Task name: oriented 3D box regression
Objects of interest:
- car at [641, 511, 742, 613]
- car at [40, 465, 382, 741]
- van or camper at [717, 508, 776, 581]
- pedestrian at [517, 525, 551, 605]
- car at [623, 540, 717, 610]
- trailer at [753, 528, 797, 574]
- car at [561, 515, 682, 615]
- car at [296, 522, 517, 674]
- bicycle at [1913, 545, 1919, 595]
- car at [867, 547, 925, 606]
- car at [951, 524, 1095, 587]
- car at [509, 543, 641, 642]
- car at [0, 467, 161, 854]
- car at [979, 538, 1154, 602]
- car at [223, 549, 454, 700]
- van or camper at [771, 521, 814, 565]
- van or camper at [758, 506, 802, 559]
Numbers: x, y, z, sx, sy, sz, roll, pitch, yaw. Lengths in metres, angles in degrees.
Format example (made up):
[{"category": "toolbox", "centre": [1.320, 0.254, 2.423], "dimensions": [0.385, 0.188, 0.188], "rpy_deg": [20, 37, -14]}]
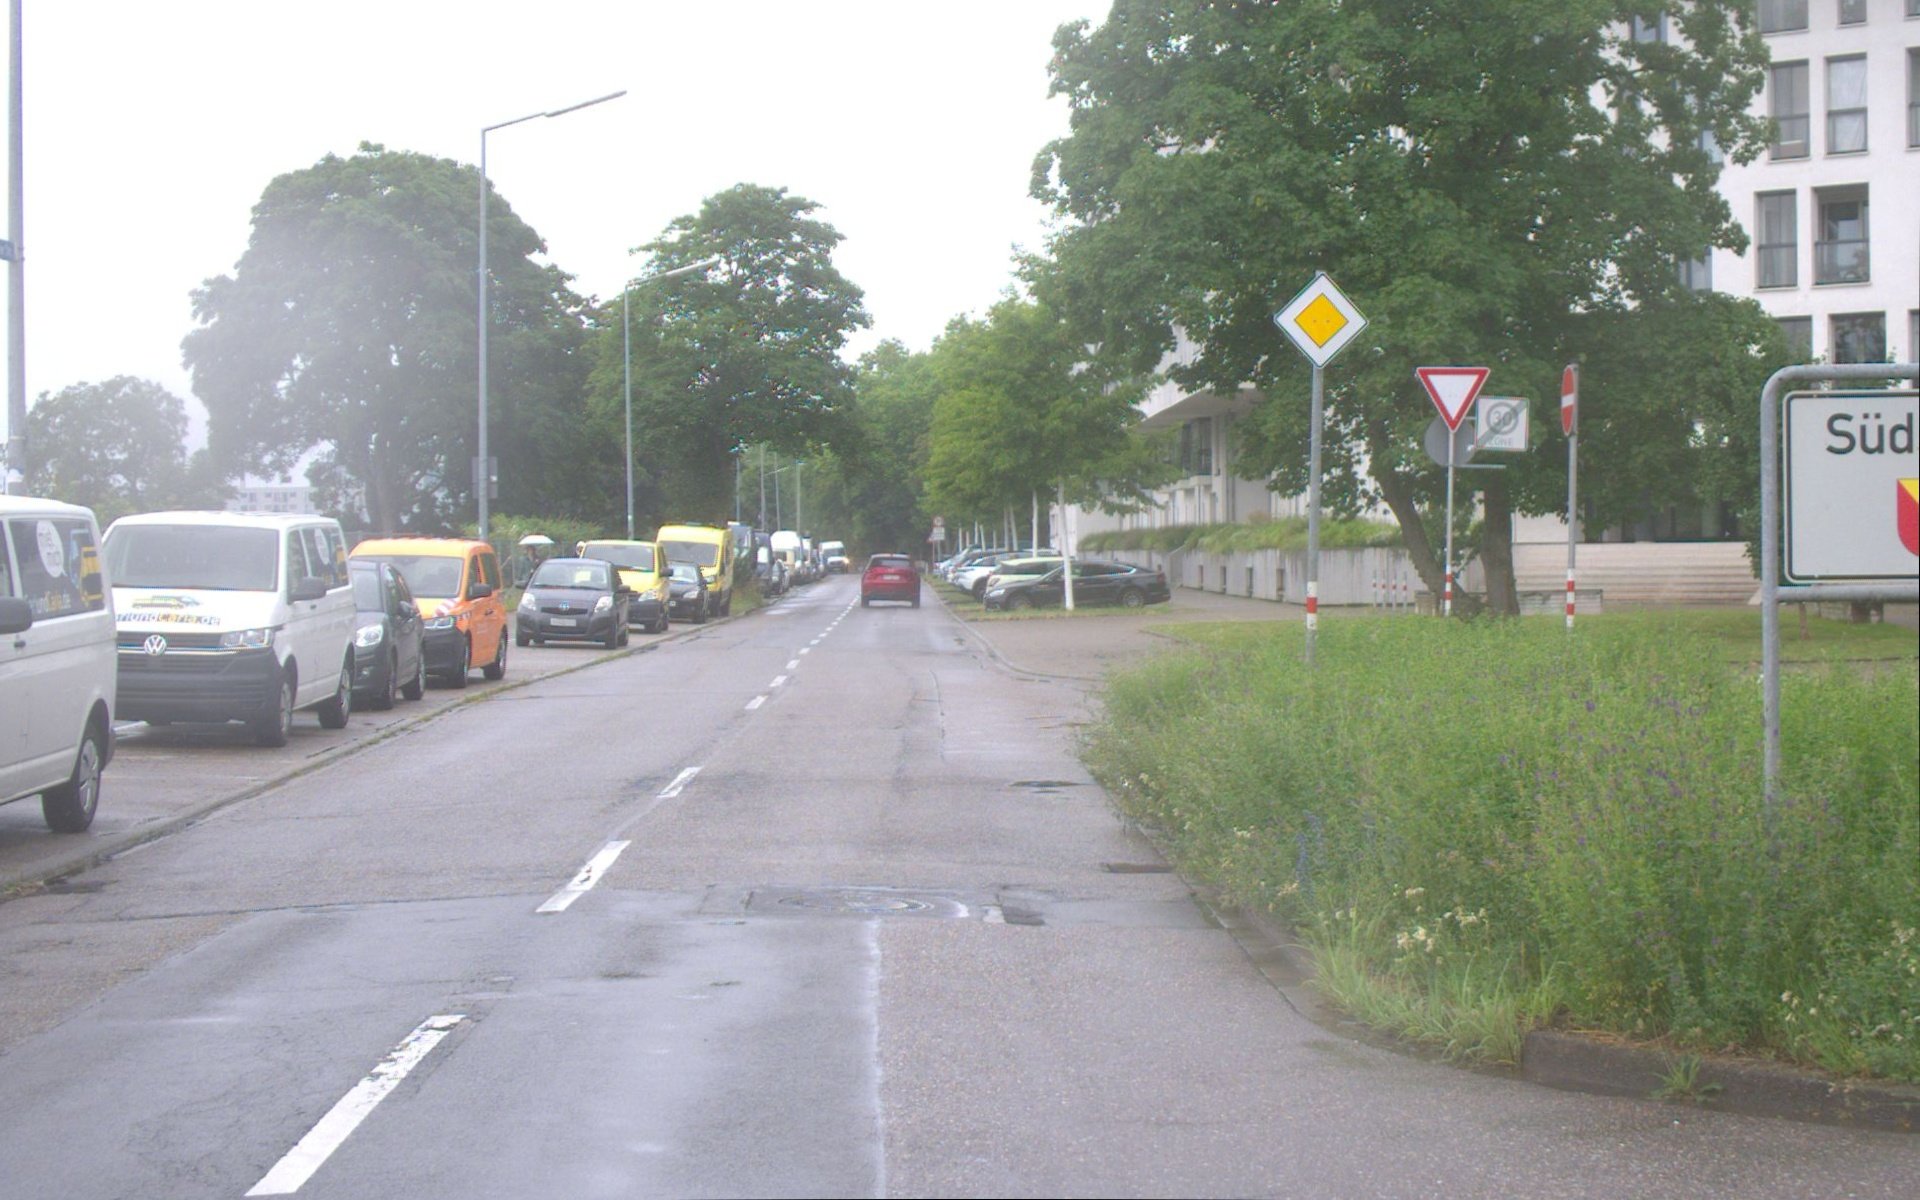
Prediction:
[{"category": "car", "centre": [-7.475, -1.067, 96.296], "dimensions": [2.192, 2.685, 6.081], "rpy_deg": [2, 1, 1]}, {"category": "car", "centre": [-6.535, -0.034, 30.643], "dimensions": [1.942, 2.228, 5.558], "rpy_deg": [0, 1, -1]}, {"category": "van or camper", "centre": [-8.448, -2.169, 136.467], "dimensions": [2.094, 2.706, 7.575], "rpy_deg": [2, 0, -3]}, {"category": "pedestrian", "centre": [-10.776, -0.898, 86.993], "dimensions": [0.742, 2.007, 0.980], "rpy_deg": [1, 1, 0]}, {"category": "car", "centre": [-7.074, -0.607, 84.146], "dimensions": [1.993, 1.588, 5.018], "rpy_deg": [2, 0, -2]}, {"category": "trailer", "centre": [-9.158, -2.426, 170.459], "dimensions": [2.058, 2.210, 5.795], "rpy_deg": [1, 1, -3]}, {"category": "car", "centre": [-7.017, -0.739, 71.844], "dimensions": [2.017, 1.950, 6.065], "rpy_deg": [2, 1, -1]}, {"category": "car", "centre": [-6.699, -0.058, 42.053], "dimensions": [1.940, 1.761, 4.331], "rpy_deg": [0, 1, 1]}, {"category": "bicycle", "centre": [20.545, -0.635, 71.330], "dimensions": [0.724, 1.029, 2.068], "rpy_deg": [0, 1, 39]}, {"category": "car", "centre": [-2.019, -0.746, 107.635], "dimensions": [1.756, 1.700, 4.001], "rpy_deg": [-1, 2, -1]}, {"category": "car", "centre": [2.079, -1.479, 114.258], "dimensions": [4.539, 1.679, 1.886], "rpy_deg": [-5, 1, -3]}, {"category": "car", "centre": [-6.581, -0.157, 59.154], "dimensions": [1.804, 1.556, 4.033], "rpy_deg": [2, 1, -1]}, {"category": "car", "centre": [-6.070, 0.289, 19.337], "dimensions": [1.959, 2.051, 5.274], "rpy_deg": [1, 1, -1]}, {"category": "car", "centre": [2.811, -0.795, 91.303], "dimensions": [4.487, 1.476, 1.692], "rpy_deg": [-3, 1, -1]}, {"category": "car", "centre": [-6.579, 0.209, 36.844], "dimensions": [1.683, 1.497, 4.892], "rpy_deg": [0, 1, -1]}, {"category": "van or camper", "centre": [-9.577, -3.237, 197.071], "dimensions": [2.189, 2.453, 6.377], "rpy_deg": [1, 1, -1]}, {"category": "van or camper", "centre": [-9.567, -3.561, 183.101], "dimensions": [1.993, 2.752, 7.898], "rpy_deg": [1, 1, -1]}]
